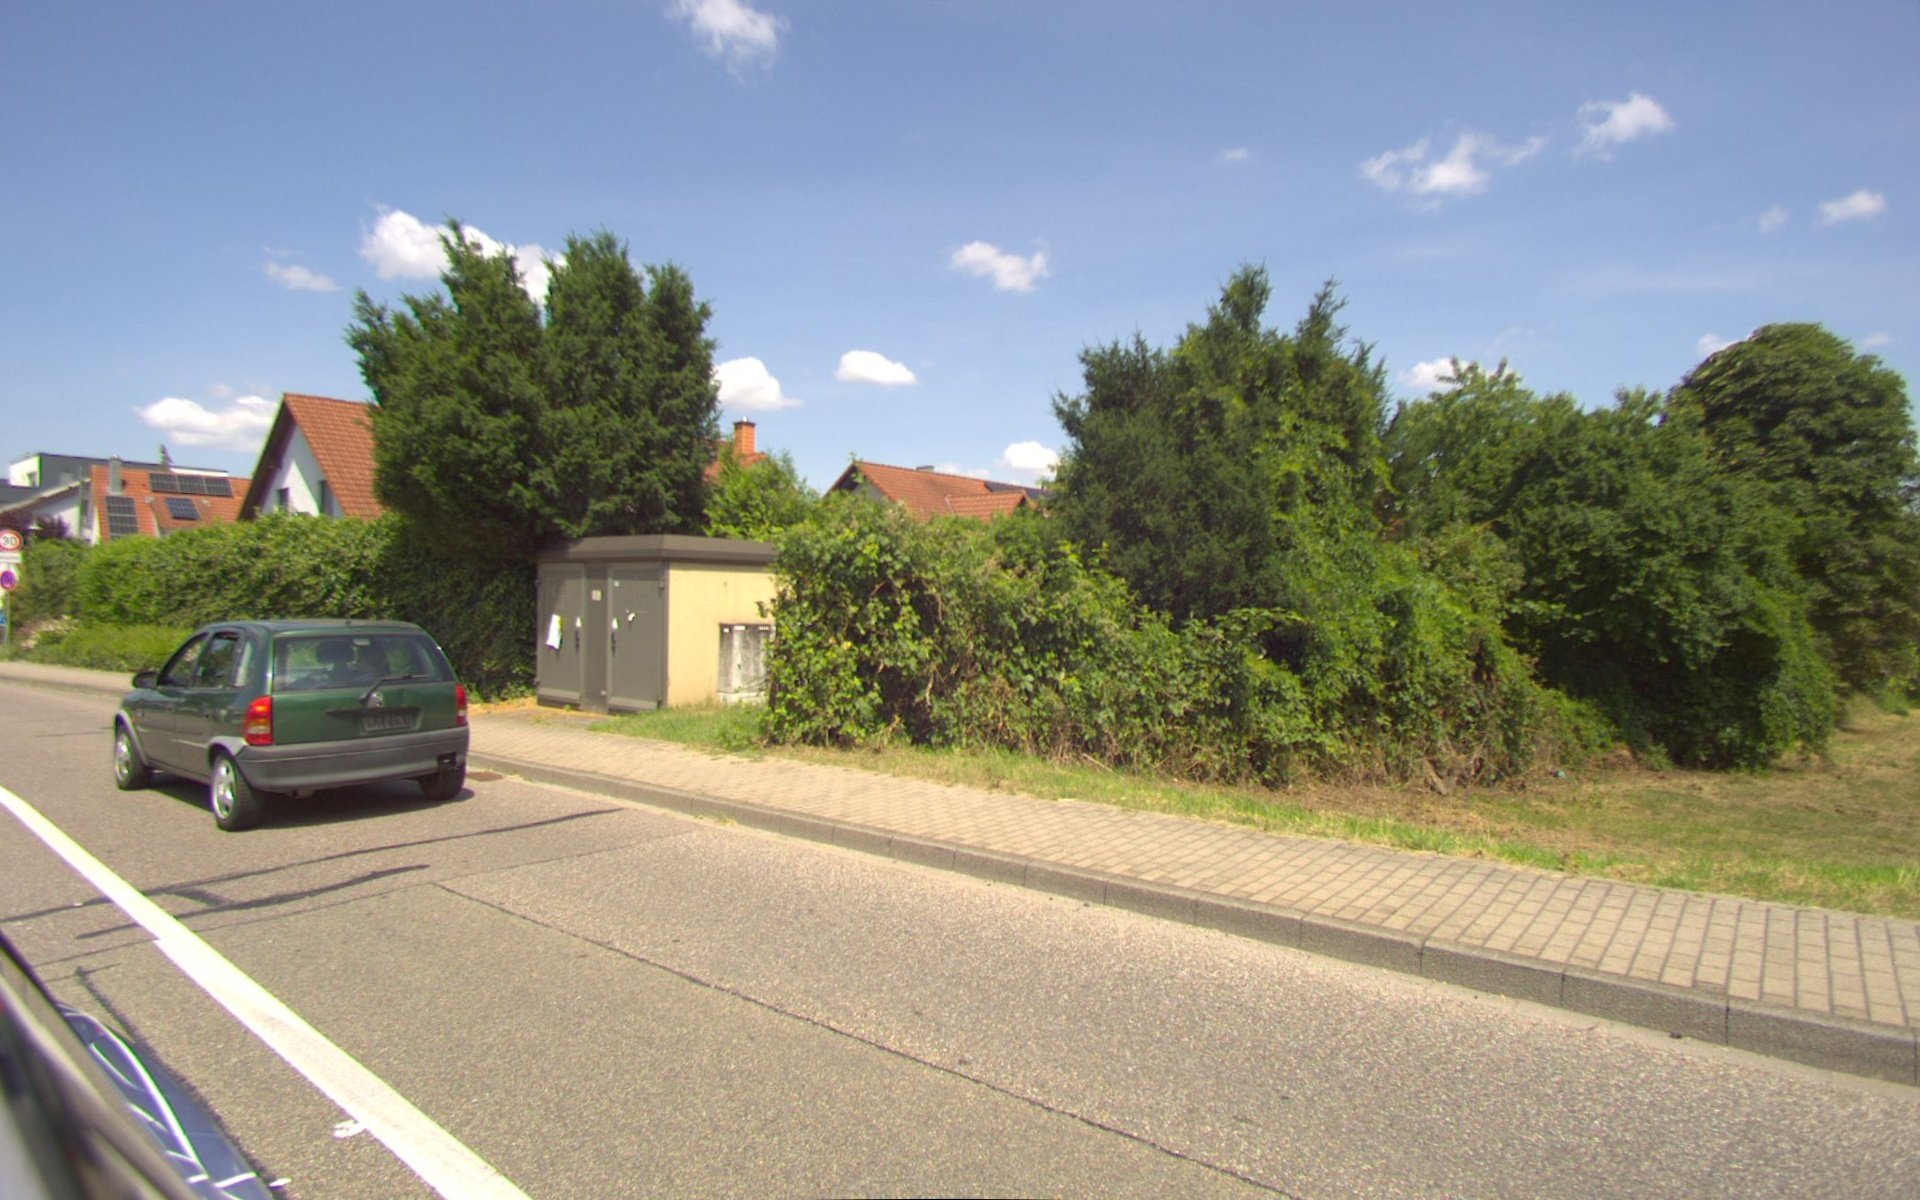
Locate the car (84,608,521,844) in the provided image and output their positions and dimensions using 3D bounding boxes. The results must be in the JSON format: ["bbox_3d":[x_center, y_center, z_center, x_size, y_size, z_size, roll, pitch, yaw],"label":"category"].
[{"bbox_3d":[-5.379,0.812,8.126,3.867,1.444,1.763,-1,-2,38],"label":"car"}]
